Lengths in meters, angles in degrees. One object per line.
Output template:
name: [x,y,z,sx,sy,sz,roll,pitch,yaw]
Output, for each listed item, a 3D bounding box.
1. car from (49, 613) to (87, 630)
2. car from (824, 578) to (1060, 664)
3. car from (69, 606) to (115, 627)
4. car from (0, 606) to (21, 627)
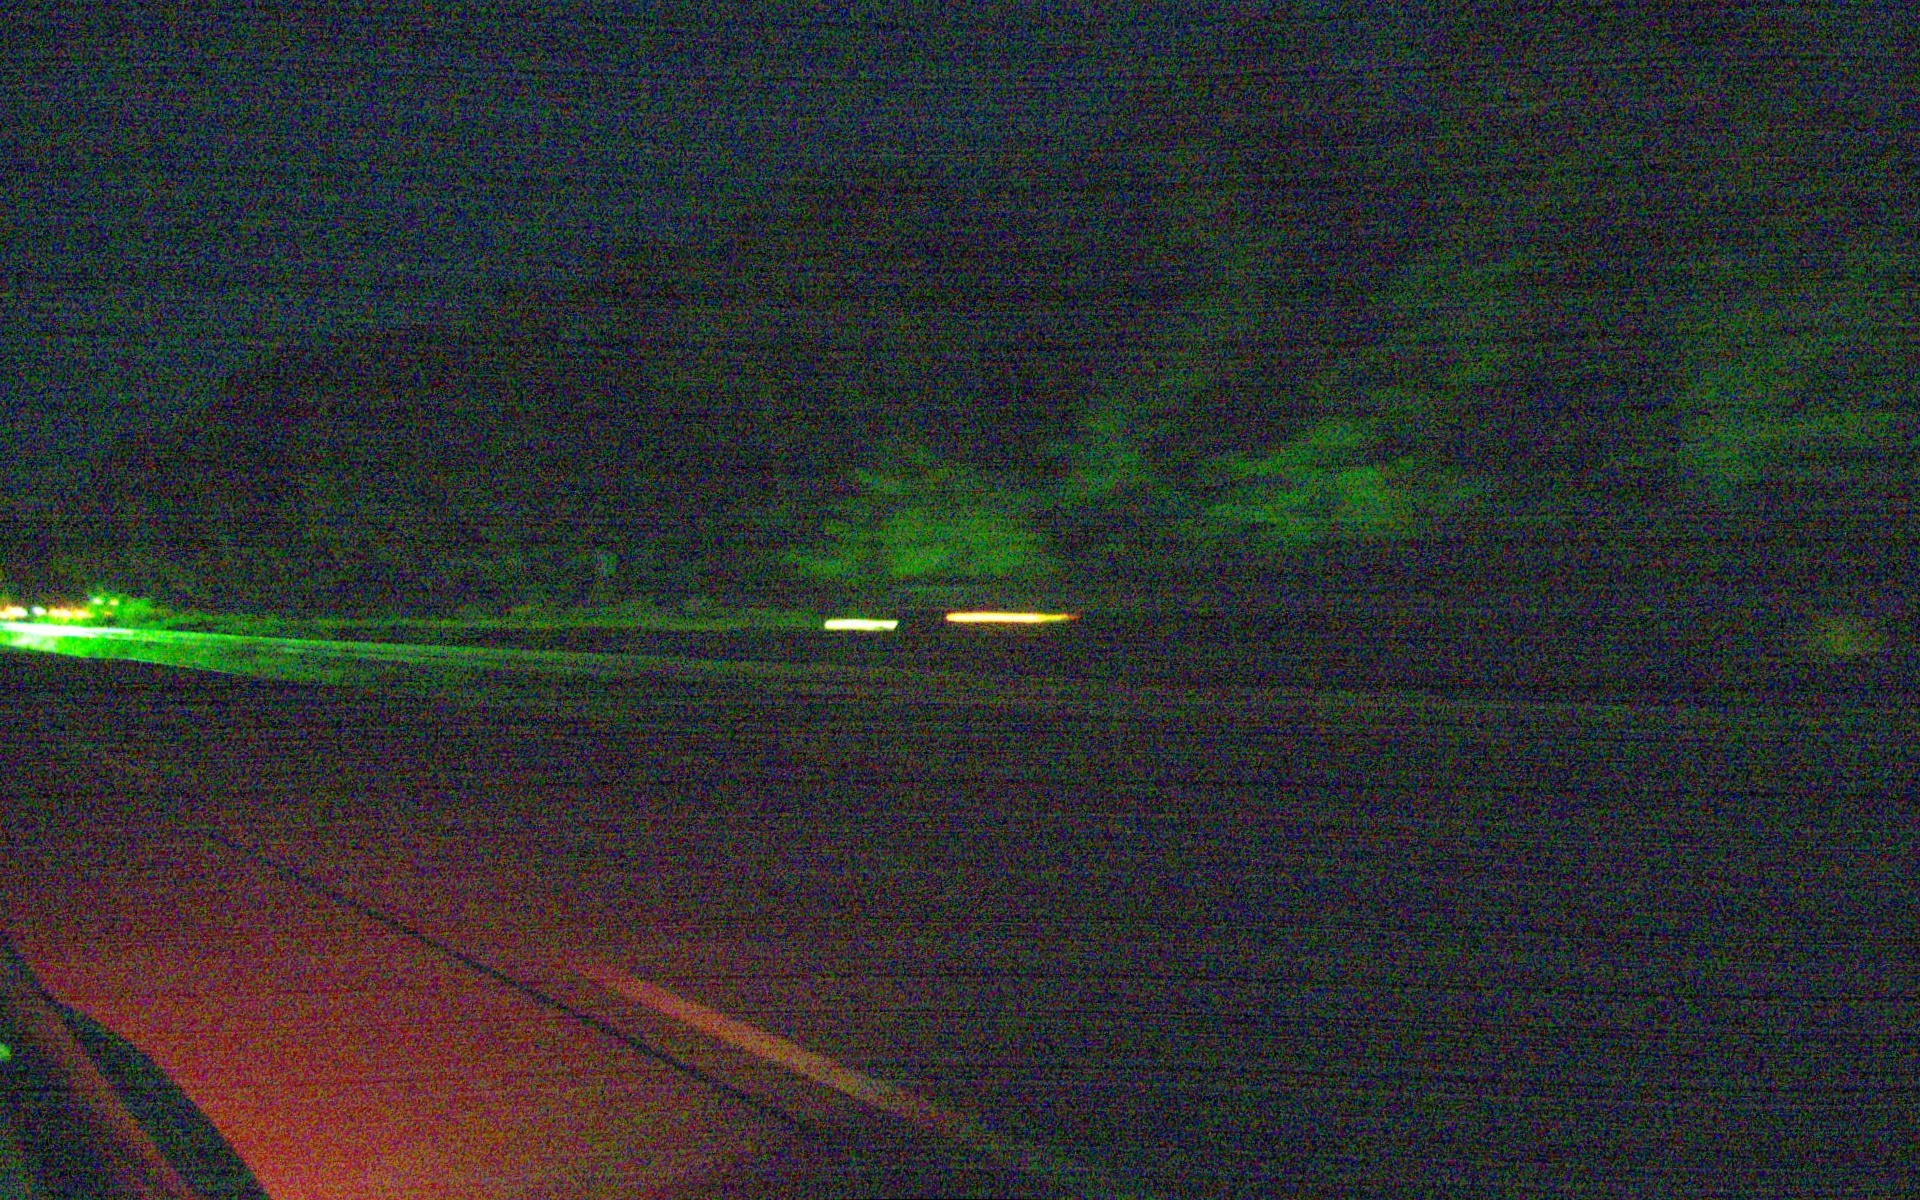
car: [-81.430,1.916,92.330,4.839,1.422,1.754,-1,3,39]
car: [-0.423,0.377,19.375,4.334,1.468,1.937,-1,0,41]
car: [-62.944,1.201,73.399,4.334,1.468,1.937,-1,0,41]
car: [-82.447,1.407,87.042,5.077,1.746,1.937,-1,0,41]
